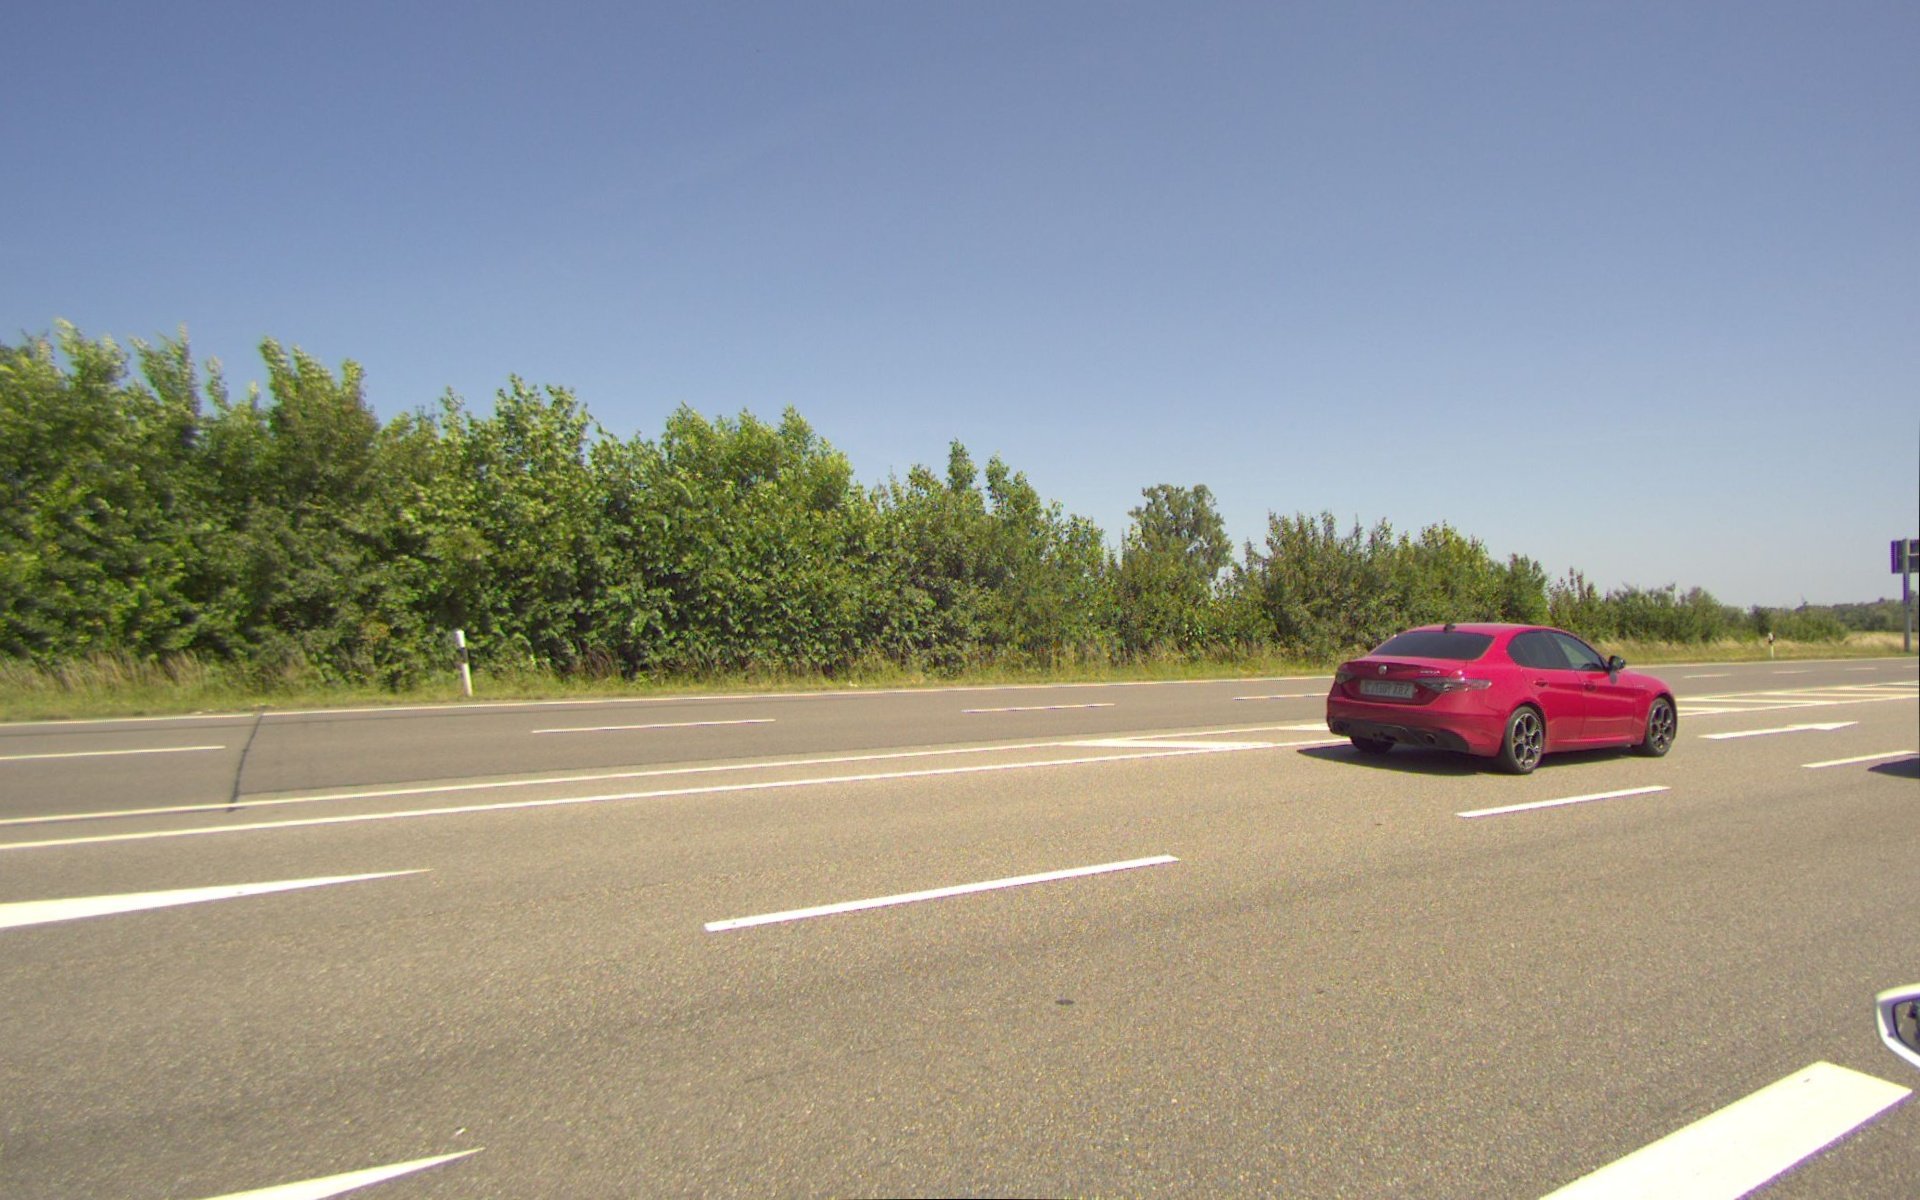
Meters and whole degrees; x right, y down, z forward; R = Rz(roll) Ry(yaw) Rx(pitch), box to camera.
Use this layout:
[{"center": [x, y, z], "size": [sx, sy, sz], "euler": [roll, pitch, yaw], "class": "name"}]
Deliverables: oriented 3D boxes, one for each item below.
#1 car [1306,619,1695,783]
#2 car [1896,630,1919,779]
[{"center": [6.019, 0.963, 11.024], "size": [4.515, 1.440, 1.740], "euler": [1, 0, -32], "class": "car"}, {"center": [11.594, 1.062, 10.341], "size": [4.331, 1.450, 1.775], "euler": [1, 0, -32], "class": "car"}]
